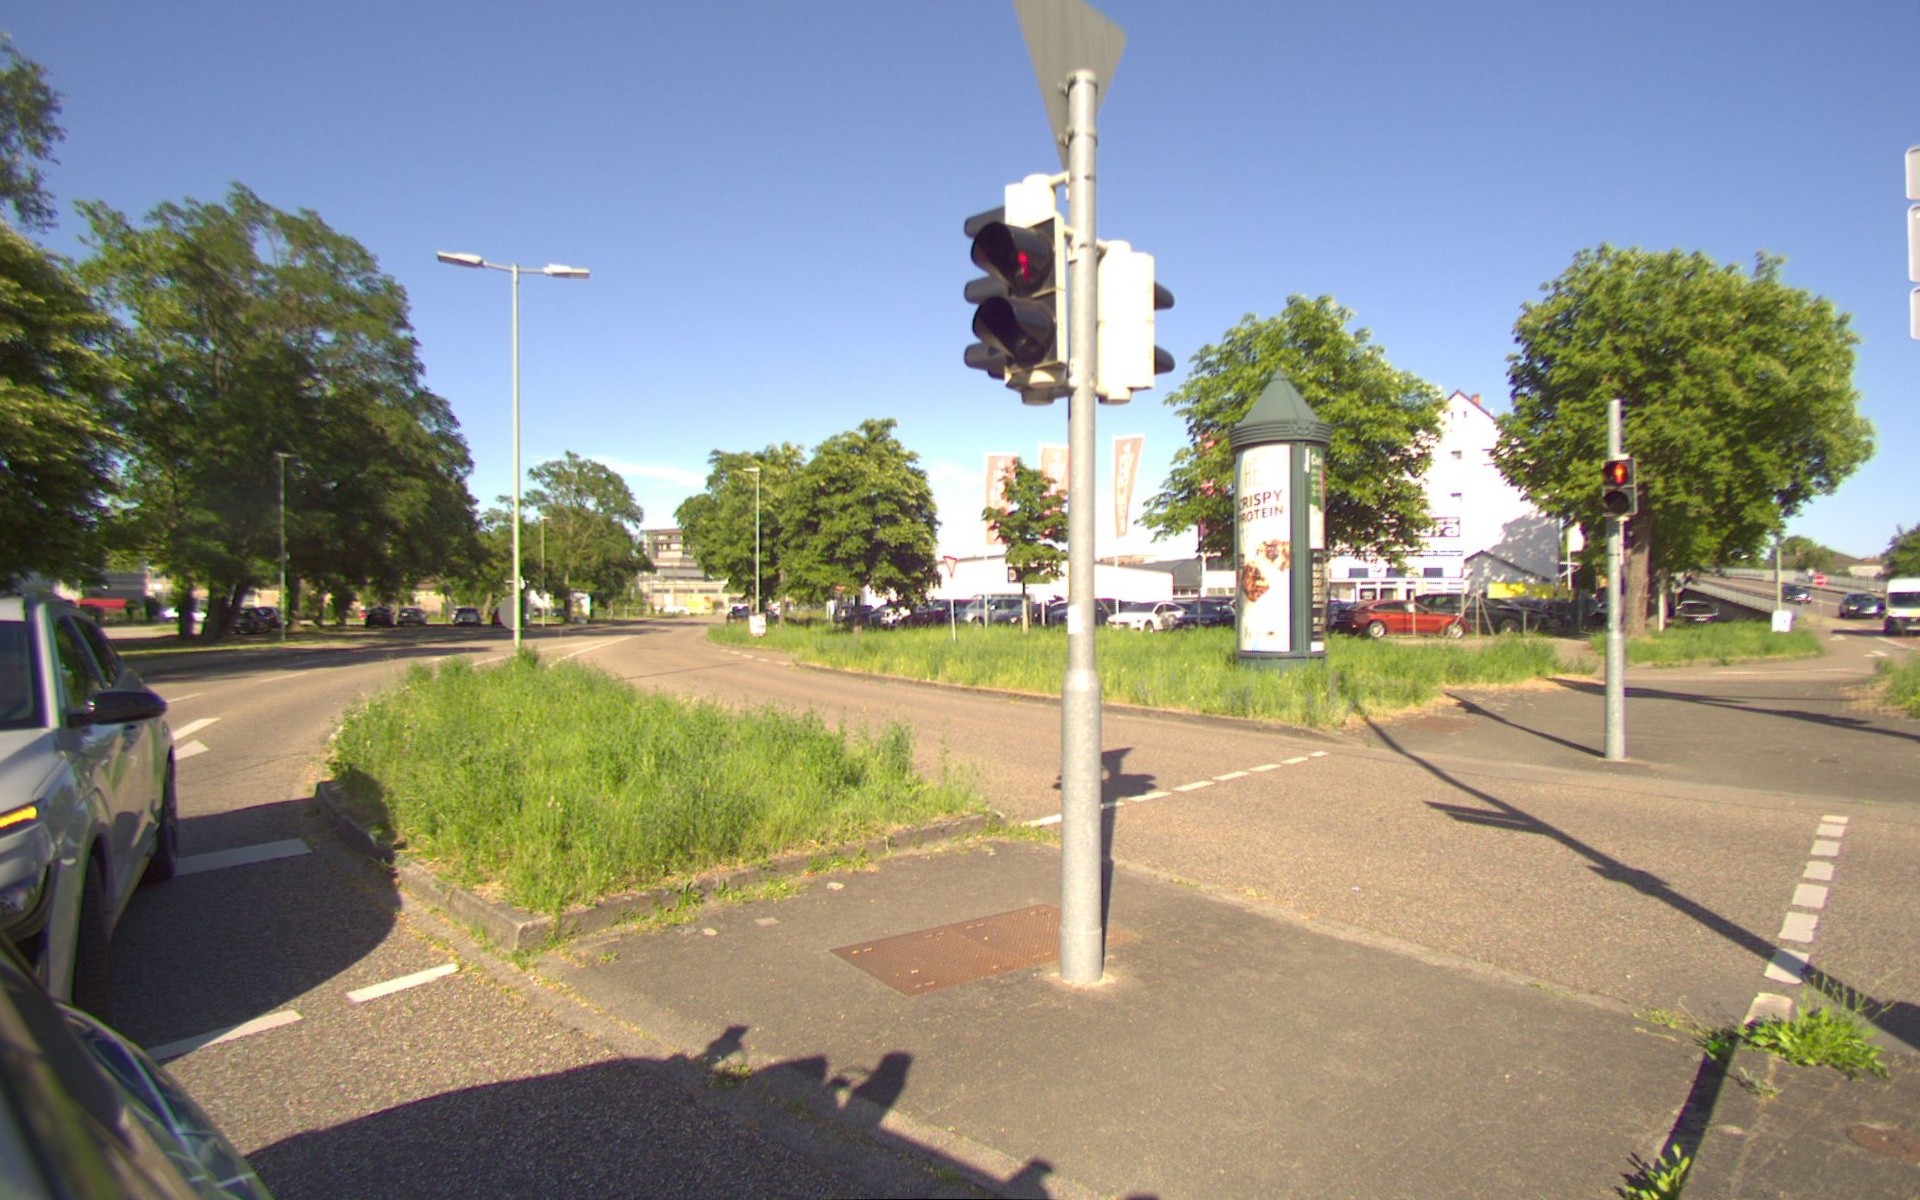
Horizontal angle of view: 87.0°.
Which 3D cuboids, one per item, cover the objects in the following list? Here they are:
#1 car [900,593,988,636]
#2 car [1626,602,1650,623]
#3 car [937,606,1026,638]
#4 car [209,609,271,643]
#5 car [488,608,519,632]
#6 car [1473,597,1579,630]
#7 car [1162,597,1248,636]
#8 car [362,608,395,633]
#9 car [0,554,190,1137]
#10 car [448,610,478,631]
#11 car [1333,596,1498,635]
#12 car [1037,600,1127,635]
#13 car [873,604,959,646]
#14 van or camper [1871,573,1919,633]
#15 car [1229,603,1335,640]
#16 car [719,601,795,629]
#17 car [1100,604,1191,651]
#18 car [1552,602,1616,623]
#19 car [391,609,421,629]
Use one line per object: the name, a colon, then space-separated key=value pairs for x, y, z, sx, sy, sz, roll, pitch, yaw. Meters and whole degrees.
car: x=-0.769 y=0.702 z=49.693 sx=3.934 sy=2.029 sz=2.005 roll=0 pitch=-1 yaw=-36
car: x=67.401 y=1.261 z=100.592 sx=1.924 sy=2.006 sz=4.208 roll=-1 pitch=0 yaw=34
car: x=1.038 y=0.998 z=47.296 sx=3.937 sy=1.419 sz=1.842 roll=-1 pitch=0 yaw=-41
car: x=-40.804 y=1.465 z=57.435 sx=1.975 sy=1.809 sz=4.013 roll=-1 pitch=0 yaw=-22
car: x=-34.261 y=1.511 z=75.848 sx=1.965 sy=1.679 sz=4.013 roll=2 pitch=-1 yaw=-26
car: x=28.817 y=0.677 z=51.629 sx=4.368 sy=1.587 sz=1.805 roll=-1 pitch=0 yaw=15
car: x=9.885 y=0.648 z=40.706 sx=1.744 sy=1.473 sz=3.945 roll=-2 pitch=-1 yaw=41
car: x=-41.239 y=1.437 z=71.801 sx=1.708 sy=1.631 sz=4.013 roll=2 pitch=-1 yaw=-26
car: x=-4.462 y=0.666 z=4.171 sx=1.687 sy=1.658 sz=4.066 roll=1 pitch=0 yaw=-32
car: x=-36.739 y=1.516 z=74.861 sx=1.965 sy=1.461 sz=4.013 roll=2 pitch=-1 yaw=-26
car: x=16.703 y=0.553 z=37.329 sx=4.994 sy=1.320 sz=2.358 roll=-1 pitch=0 yaw=4
car: x=5.329 y=0.761 z=43.848 sx=1.999 sy=1.452 sz=3.945 roll=-2 pitch=-1 yaw=41
car: x=-2.243 y=1.241 z=52.013 sx=3.935 sy=2.029 sz=2.004 roll=-1 pitch=0 yaw=-37
van or camper: x=43.416 y=0.142 z=46.080 sx=2.604 sy=2.602 sz=6.522 roll=-3 pitch=-2 yaw=40
car: x=13.946 y=0.935 z=43.959 sx=3.998 sy=1.517 sz=1.808 roll=-2 pitch=-1 yaw=41
car: x=-11.590 y=0.868 z=57.780 sx=3.930 sy=1.541 sz=1.935 roll=0 pitch=-1 yaw=-23
car: x=7.818 y=1.118 z=42.441 sx=1.999 sy=1.901 sz=3.945 roll=-2 pitch=-1 yaw=41
car: x=46.274 y=0.913 z=75.089 sx=3.623 sy=1.521 sz=1.782 roll=-1 pitch=0 yaw=5
car: x=-42.657 y=1.448 z=77.961 sx=1.840 sy=1.451 sz=3.495 roll=2 pitch=-1 yaw=-26
